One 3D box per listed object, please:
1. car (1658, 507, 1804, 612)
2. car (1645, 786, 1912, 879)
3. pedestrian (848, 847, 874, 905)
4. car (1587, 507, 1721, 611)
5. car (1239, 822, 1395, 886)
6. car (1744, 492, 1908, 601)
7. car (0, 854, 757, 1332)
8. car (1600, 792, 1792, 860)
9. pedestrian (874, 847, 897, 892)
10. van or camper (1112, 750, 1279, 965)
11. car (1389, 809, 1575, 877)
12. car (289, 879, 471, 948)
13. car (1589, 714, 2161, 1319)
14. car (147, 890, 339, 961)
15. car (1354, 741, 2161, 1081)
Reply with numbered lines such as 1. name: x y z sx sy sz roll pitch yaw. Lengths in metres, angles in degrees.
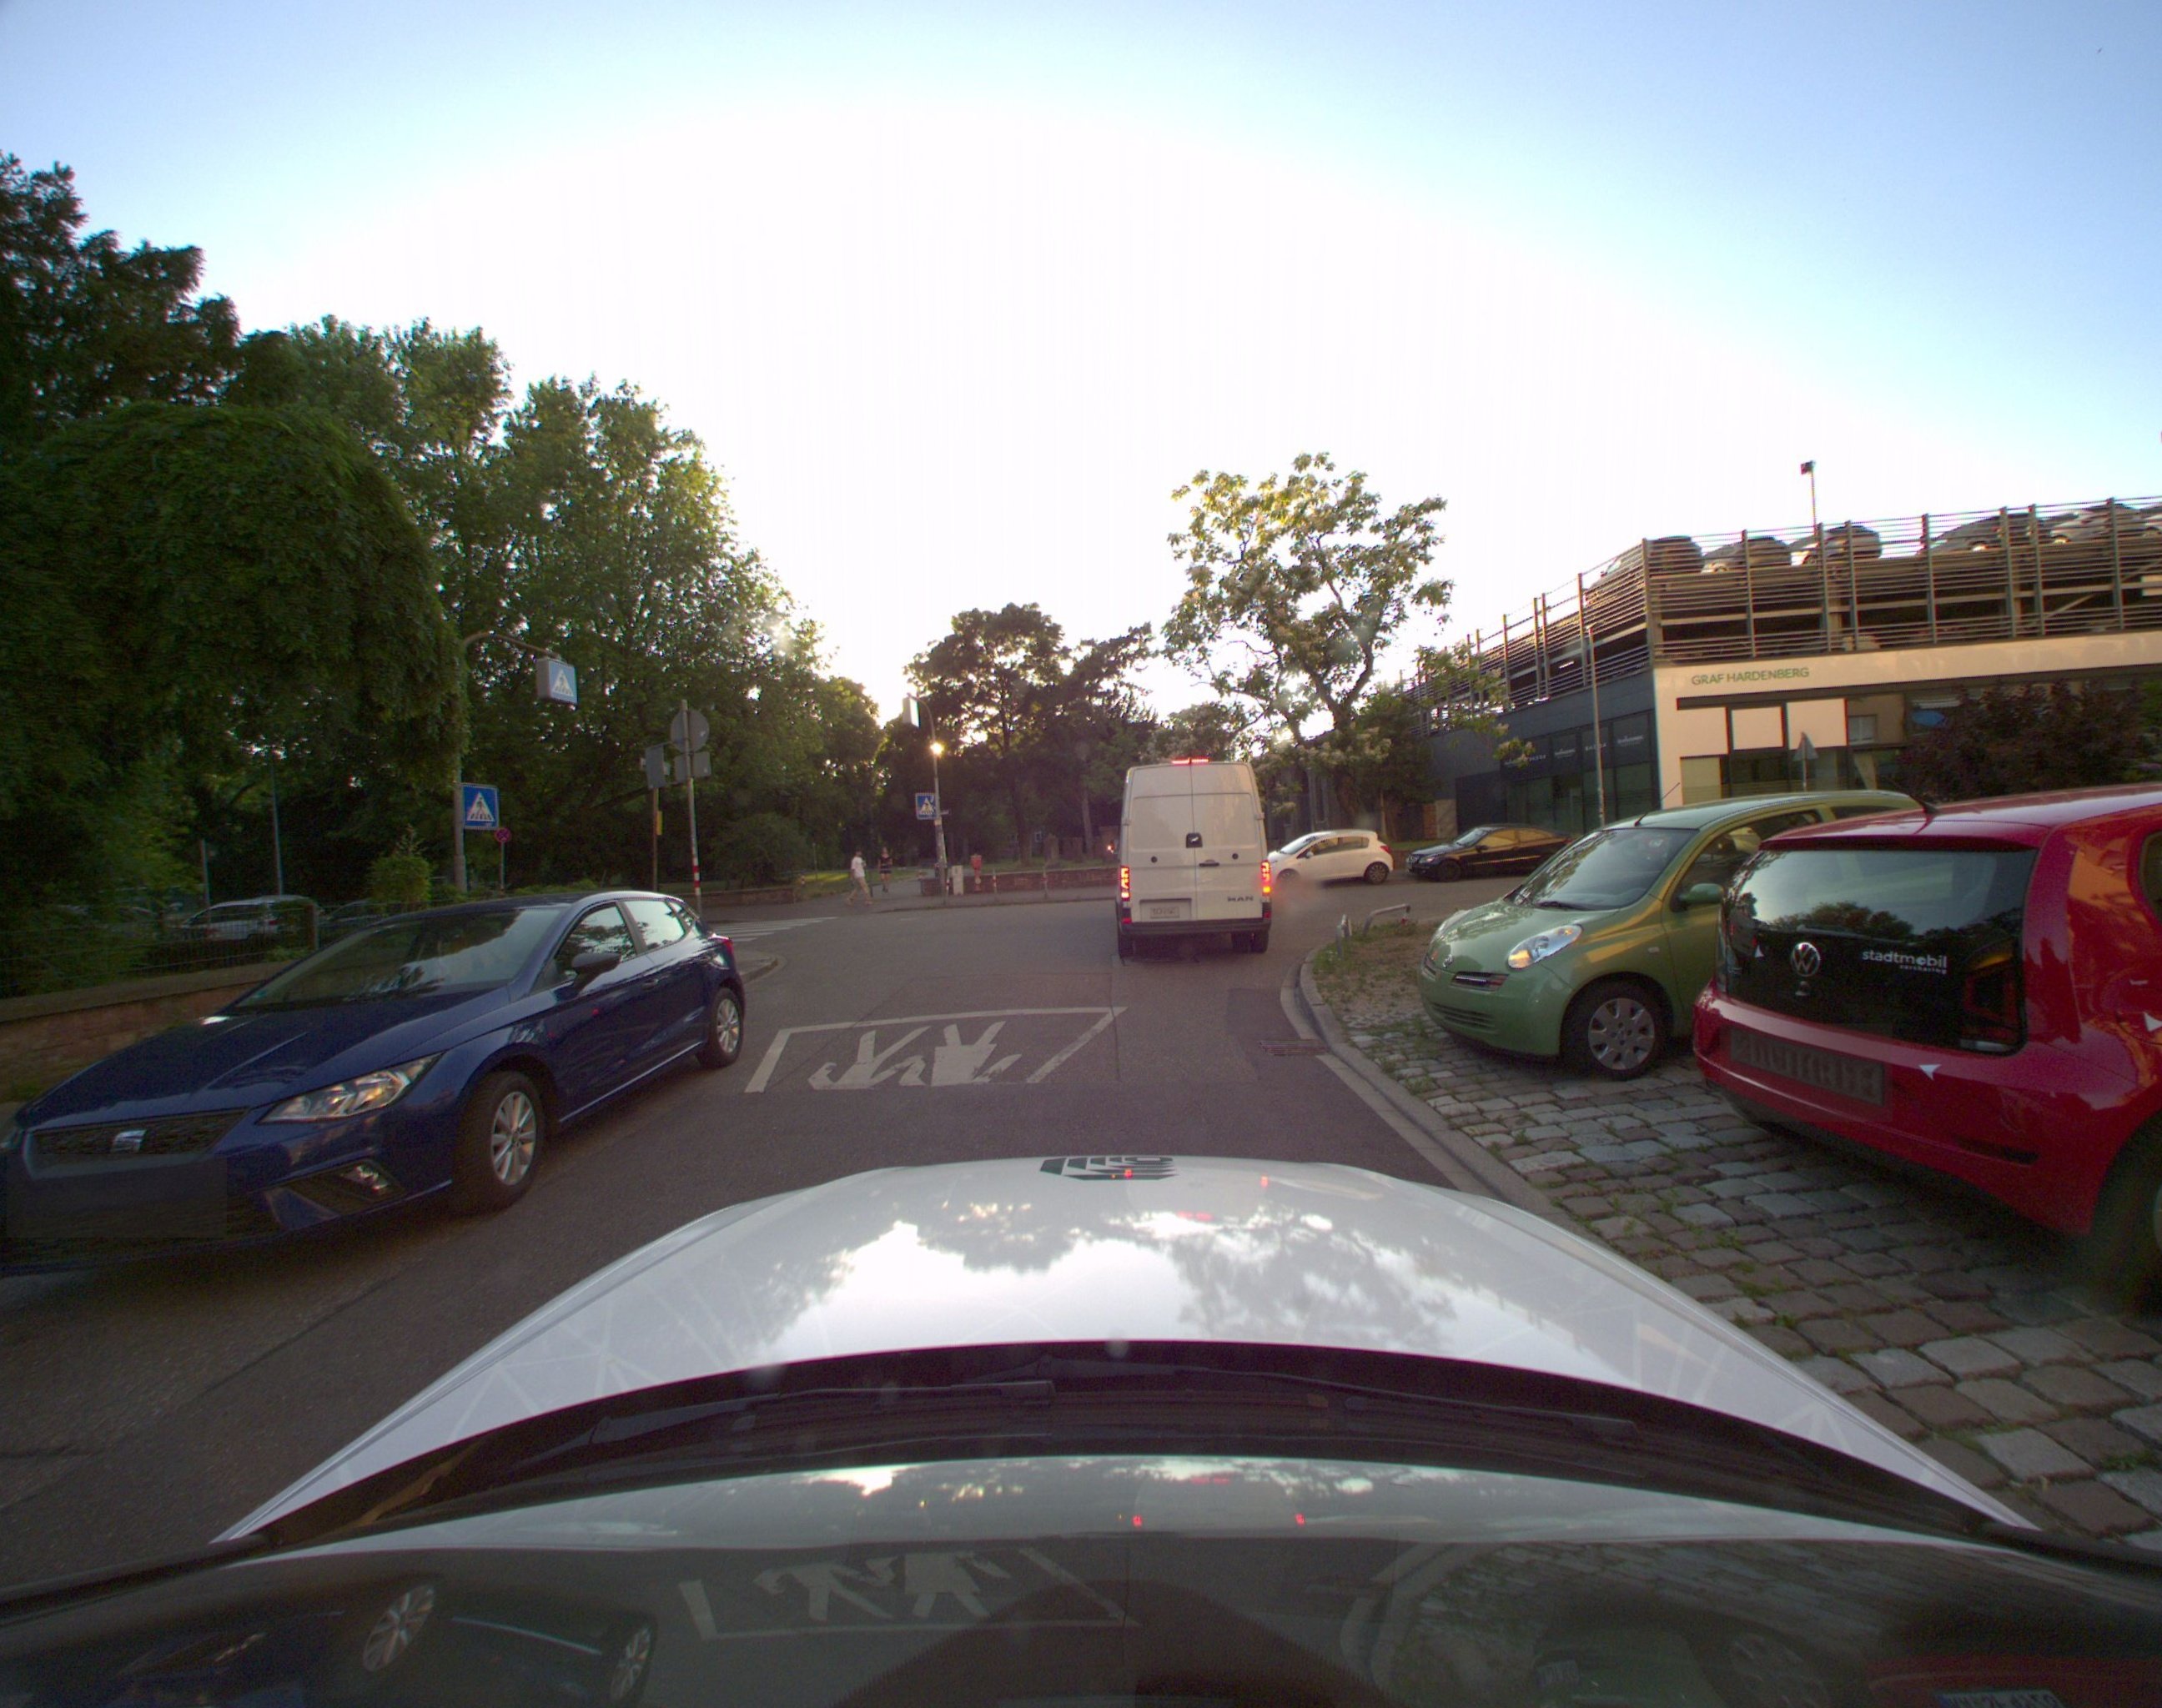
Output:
1. car: 21.845 -9.839 27.596 1.984 2.013 4.007 -2 0 6
2. car: 14.318 -0.434 16.920 3.819 1.523 1.826 -4 0 5
3. pedestrian: -7.009 0.696 25.961 0.591 1.809 0.621 -2 0 2
4. car: 19.276 -9.883 27.641 1.984 2.013 4.007 -2 0 6
5. car: 6.668 -0.020 23.334 3.844 1.574 1.957 -3 1 -2
6. car: 24.552 -10.078 27.073 1.984 2.013 4.007 -2 0 6
7. car: -3.501 0.865 4.836 1.730 1.567 3.785 -5 1 -4
8. car: 16.924 -0.762 22.589 3.819 1.503 1.826 -4 0 5
9. pedestrian: -7.277 0.558 30.342 0.644 1.648 0.674 -2 1 0
10. van or camper: 1.530 0.032 13.226 1.986 2.618 6.406 -1 0 2
11. car: 11.163 -0.313 22.930 4.273 1.503 1.826 -4 0 5
12. car: -20.886 1.753 24.372 3.831 1.491 1.828 -4 6 7
13. car: 4.801 0.207 3.127 4.386 1.631 1.847 -7 0 2
14. car: -25.582 2.159 24.971 3.852 1.562 1.826 -4 6 4
15. car: 4.456 0.327 5.678 4.392 1.631 1.844 -5 -1 -2
